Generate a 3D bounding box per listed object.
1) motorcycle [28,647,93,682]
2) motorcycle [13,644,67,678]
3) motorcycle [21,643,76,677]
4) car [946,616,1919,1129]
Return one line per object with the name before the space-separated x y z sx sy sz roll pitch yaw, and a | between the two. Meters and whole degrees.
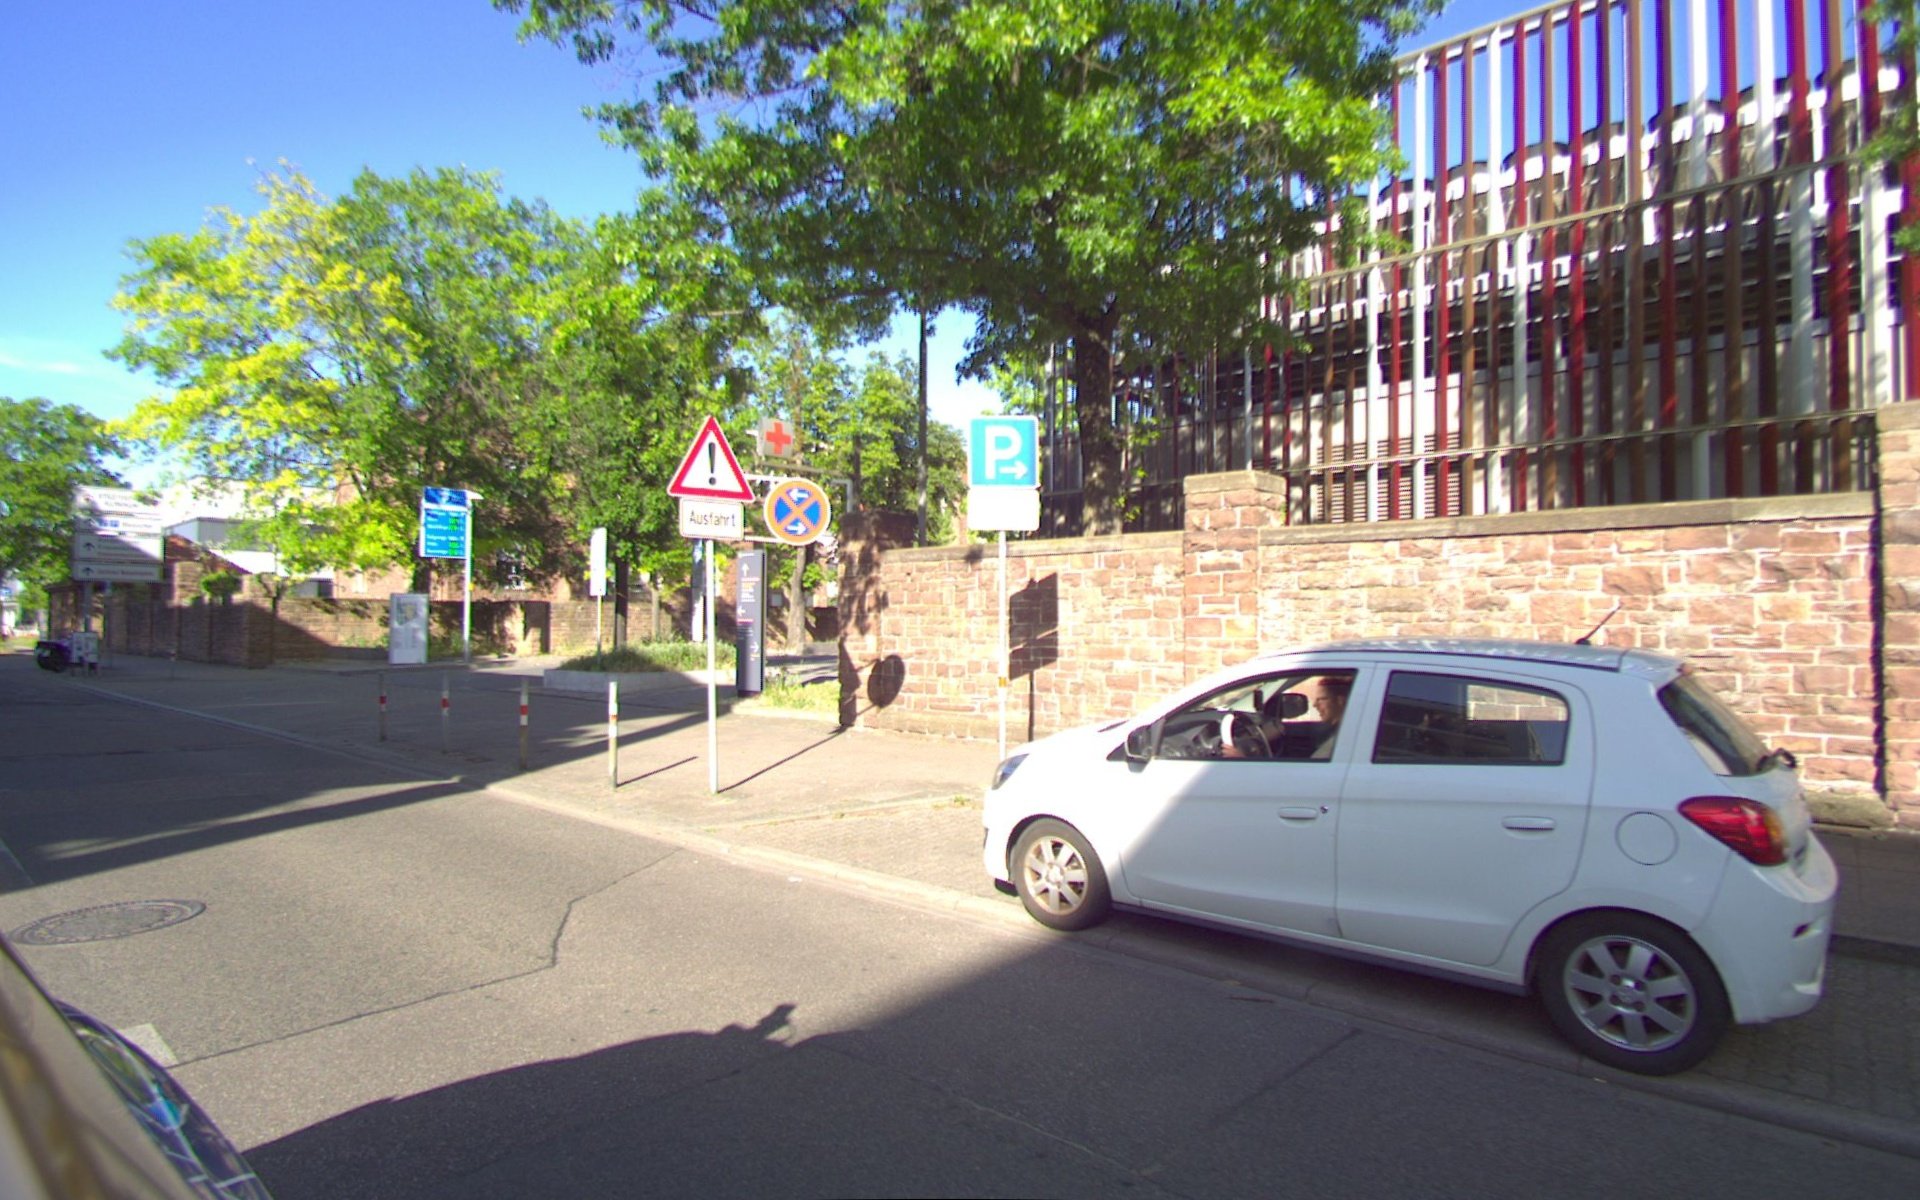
motorcycle | -27.918 1.980 31.445 0.591 1.040 2.133 0 -2 -15
motorcycle | -31.153 2.046 34.303 0.523 1.047 2.097 -1 -1 -18
motorcycle | -30.035 1.970 33.385 0.523 1.047 2.097 -1 -1 -18
car | 1.871 0.843 4.712 3.748 1.412 1.558 -2 1 41
